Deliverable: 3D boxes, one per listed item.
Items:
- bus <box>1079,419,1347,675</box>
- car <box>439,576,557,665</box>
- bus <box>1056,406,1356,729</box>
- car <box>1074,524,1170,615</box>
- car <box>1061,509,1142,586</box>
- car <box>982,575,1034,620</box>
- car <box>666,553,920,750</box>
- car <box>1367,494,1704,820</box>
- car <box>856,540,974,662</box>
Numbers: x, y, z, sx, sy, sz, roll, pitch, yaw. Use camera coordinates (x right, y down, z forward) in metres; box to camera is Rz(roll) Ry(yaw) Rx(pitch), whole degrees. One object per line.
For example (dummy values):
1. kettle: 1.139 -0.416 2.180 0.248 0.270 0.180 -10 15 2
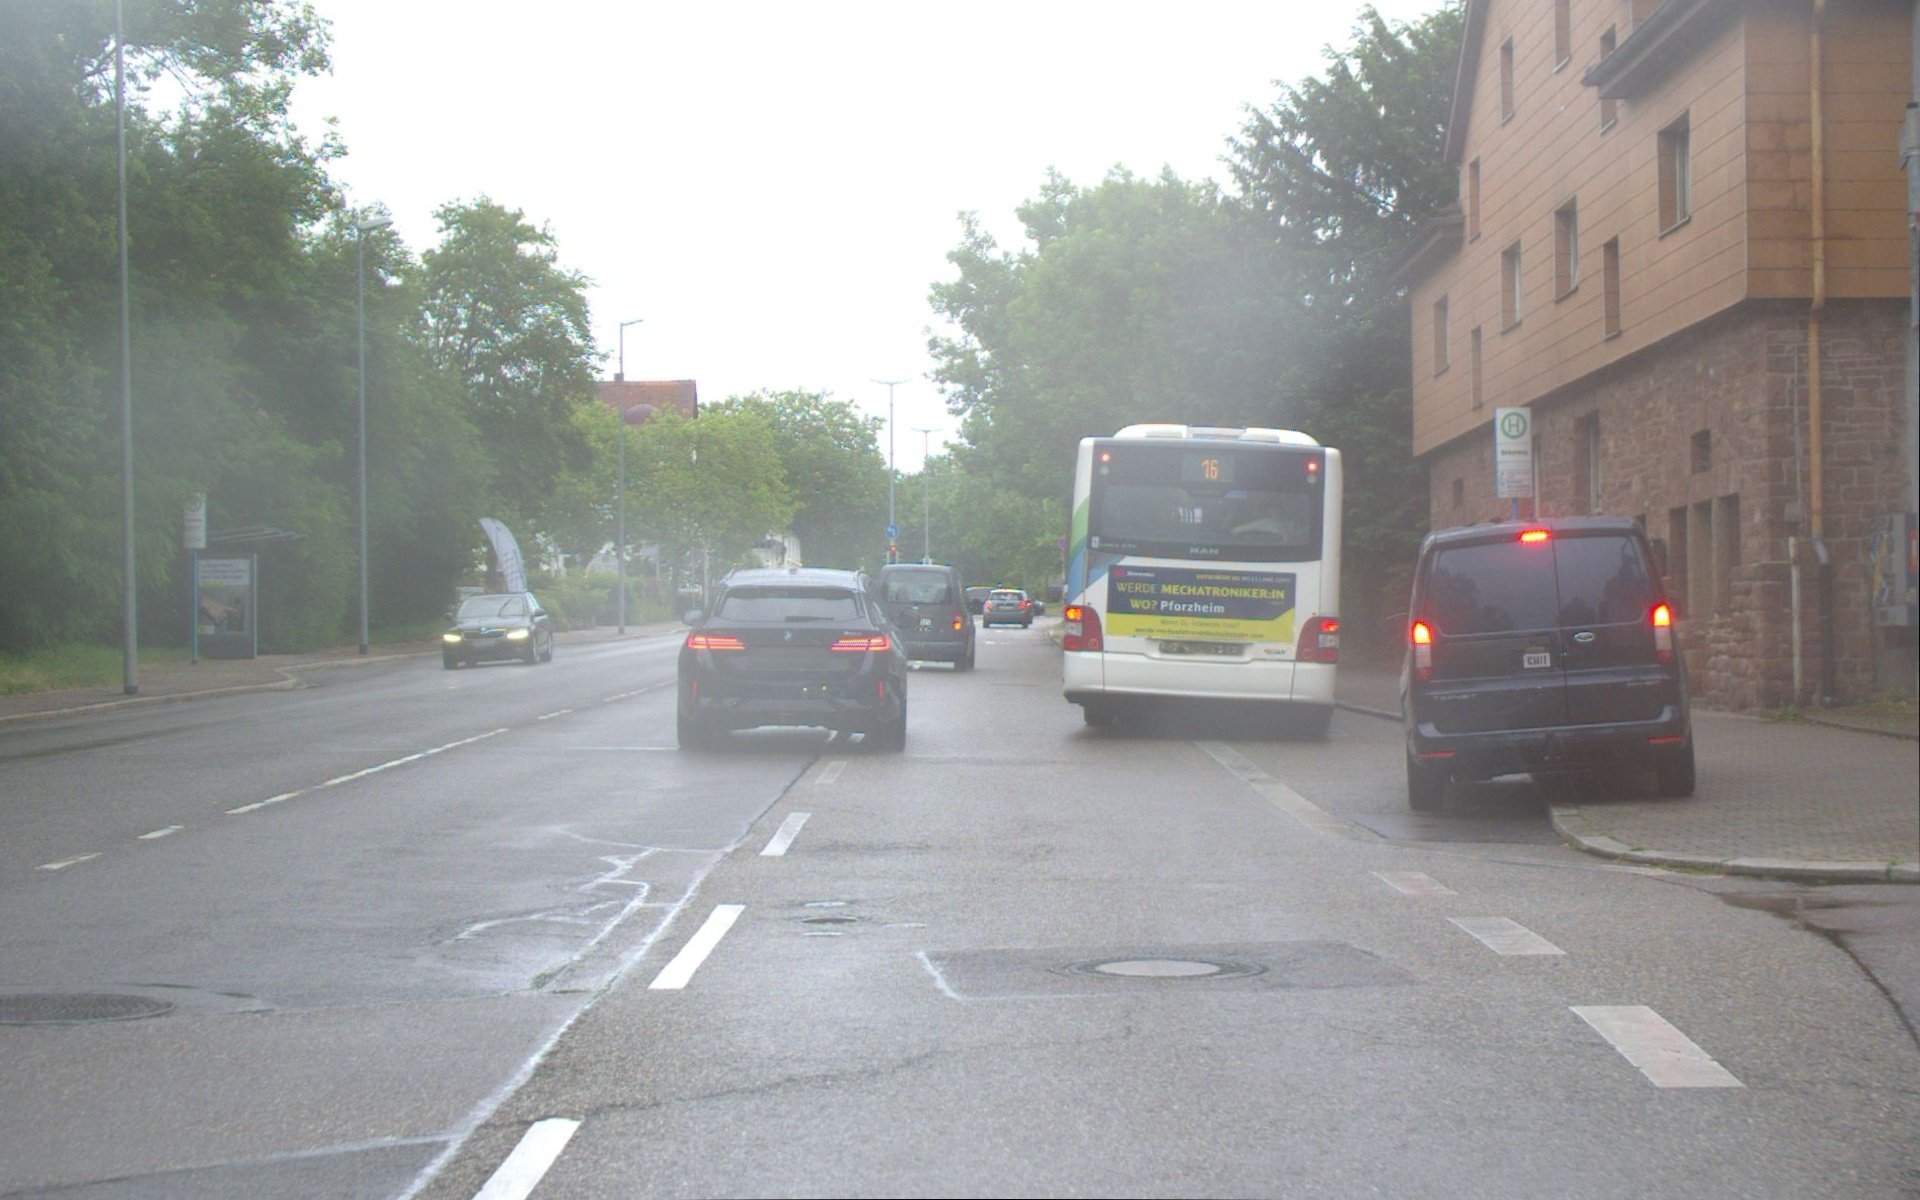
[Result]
1. bus: 3.047 -0.762 44.061 2.623 2.837 9.795 -2 2 0
2. car: -8.972 0.384 67.060 1.770 1.528 4.001 -2 2 -1
3. bus: 2.631 -0.434 35.132 2.623 2.837 8.287 -2 2 6
4. car: 3.824 -0.754 81.780 1.993 2.006 4.001 -1 3 -1
5. car: 3.936 -1.487 96.197 1.993 2.006 4.001 -1 3 -1
6. car: 1.820 -0.101 131.222 1.865 1.513 4.001 -1 3 -1
7. car: -1.480 0.387 29.683 1.993 1.448 4.001 2 2 -4
8. car: 3.891 0.320 23.452 1.927 1.885 4.759 -4 0 9
9. car: -0.755 -0.019 60.197 1.993 2.006 4.000 0 2 0
